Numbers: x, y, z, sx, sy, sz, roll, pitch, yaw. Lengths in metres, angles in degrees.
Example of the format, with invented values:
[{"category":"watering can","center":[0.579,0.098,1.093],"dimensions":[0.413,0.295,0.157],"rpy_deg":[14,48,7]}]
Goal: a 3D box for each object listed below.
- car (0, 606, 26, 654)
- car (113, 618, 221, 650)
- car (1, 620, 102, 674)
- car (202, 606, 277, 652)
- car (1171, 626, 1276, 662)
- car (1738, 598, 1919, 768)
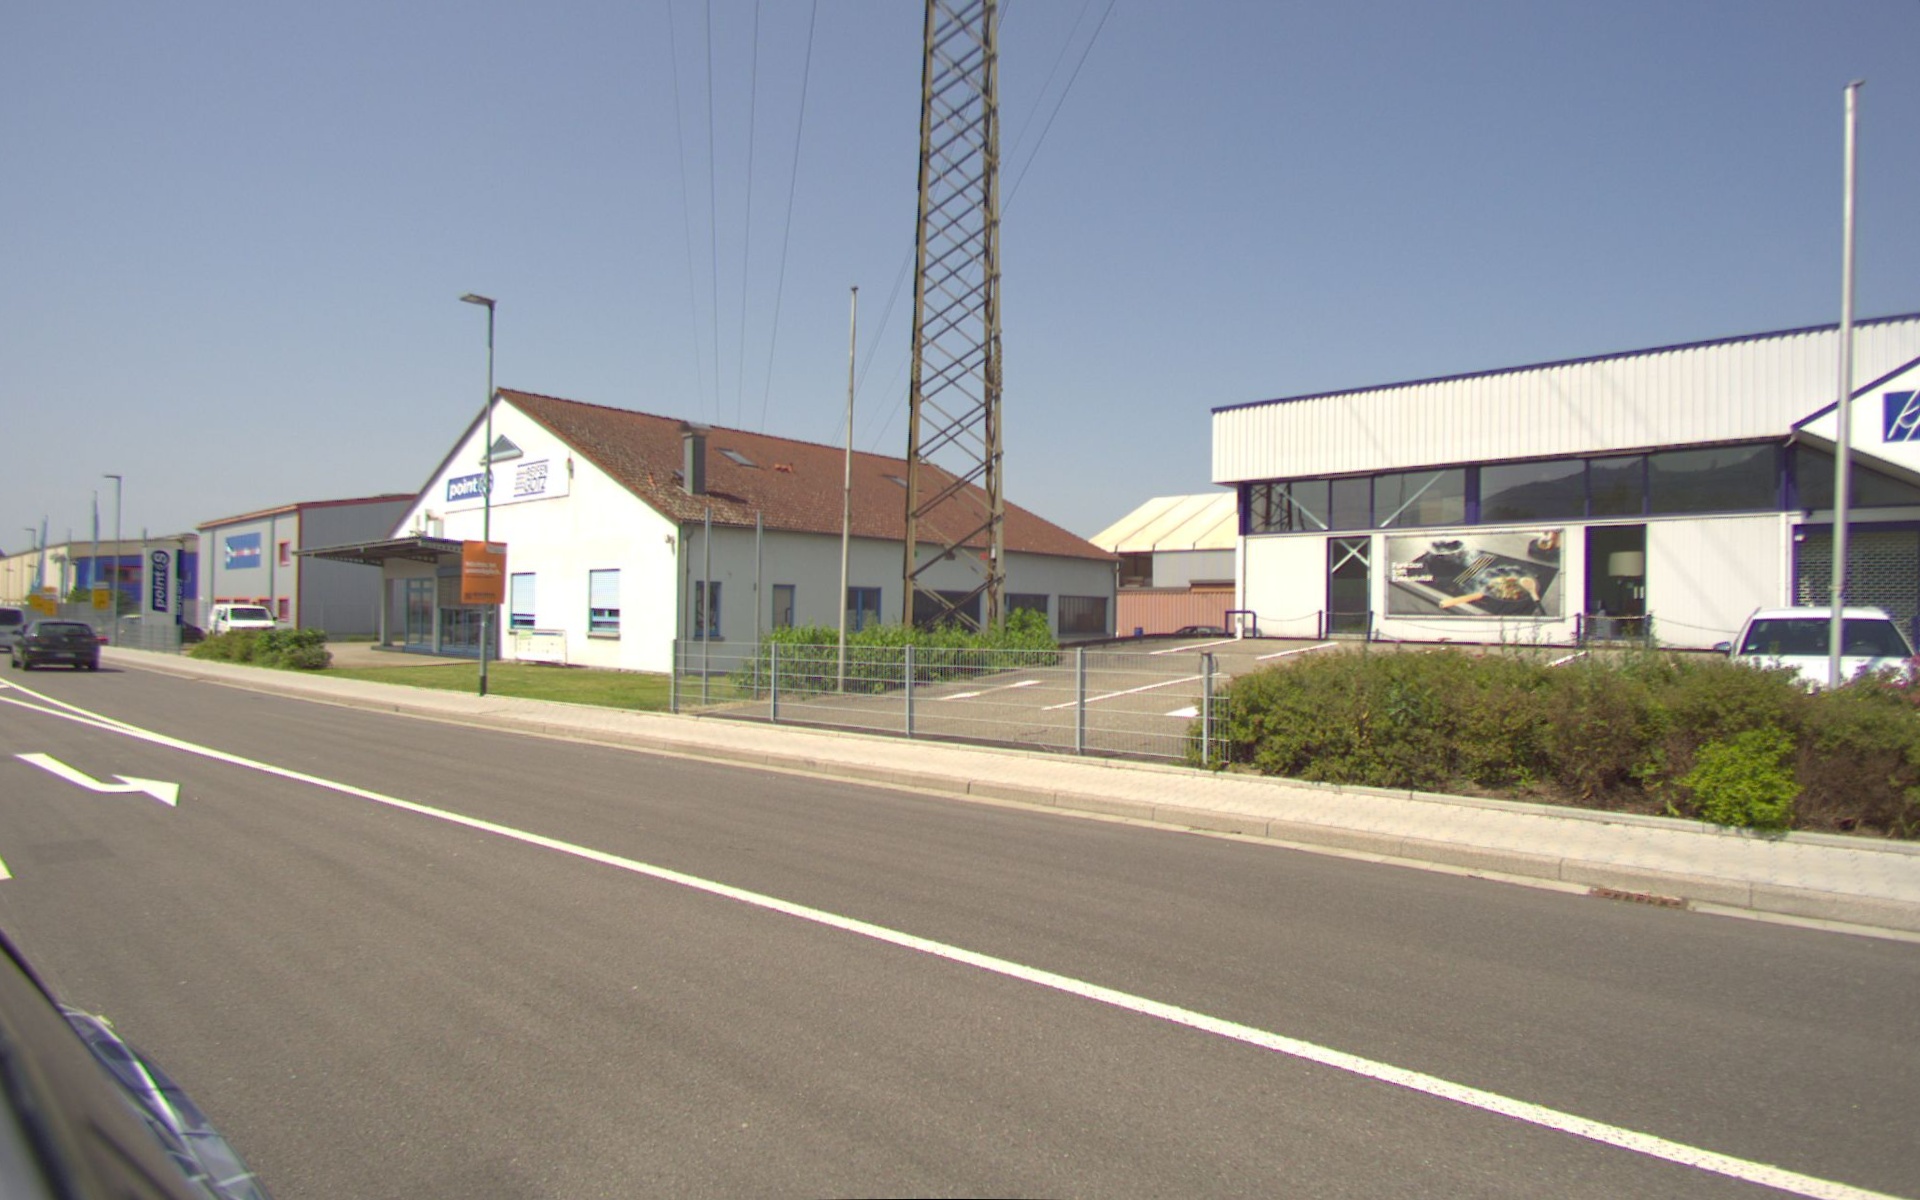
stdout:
[{"category":"car","center":[-40.085,1.161,41.529],"dimensions":[5.167,1.888,1.973],"rpy_deg":[0,-2,41]},{"category":"car","center":[-39.324,1.670,50.316],"dimensions":[1.728,1.505,3.979],"rpy_deg":[0,-1,16]},{"category":"car","center":[-26.024,1.317,28.954],"dimensions":[3.998,1.434,1.653],"rpy_deg":[-1,-4,41]},{"category":"car","center":[-34.198,1.339,47.987],"dimensions":[4.680,2.029,1.972],"rpy_deg":[0,-2,43]},{"category":"car","center":[11.157,1.865,42.944],"dimensions":[3.998,1.434,1.653],"rpy_deg":[-1,-4,41]},{"category":"car","center":[9.845,0.765,11.217],"dimensions":[1.763,1.467,4.181],"rpy_deg":[-1,1,40]}]
